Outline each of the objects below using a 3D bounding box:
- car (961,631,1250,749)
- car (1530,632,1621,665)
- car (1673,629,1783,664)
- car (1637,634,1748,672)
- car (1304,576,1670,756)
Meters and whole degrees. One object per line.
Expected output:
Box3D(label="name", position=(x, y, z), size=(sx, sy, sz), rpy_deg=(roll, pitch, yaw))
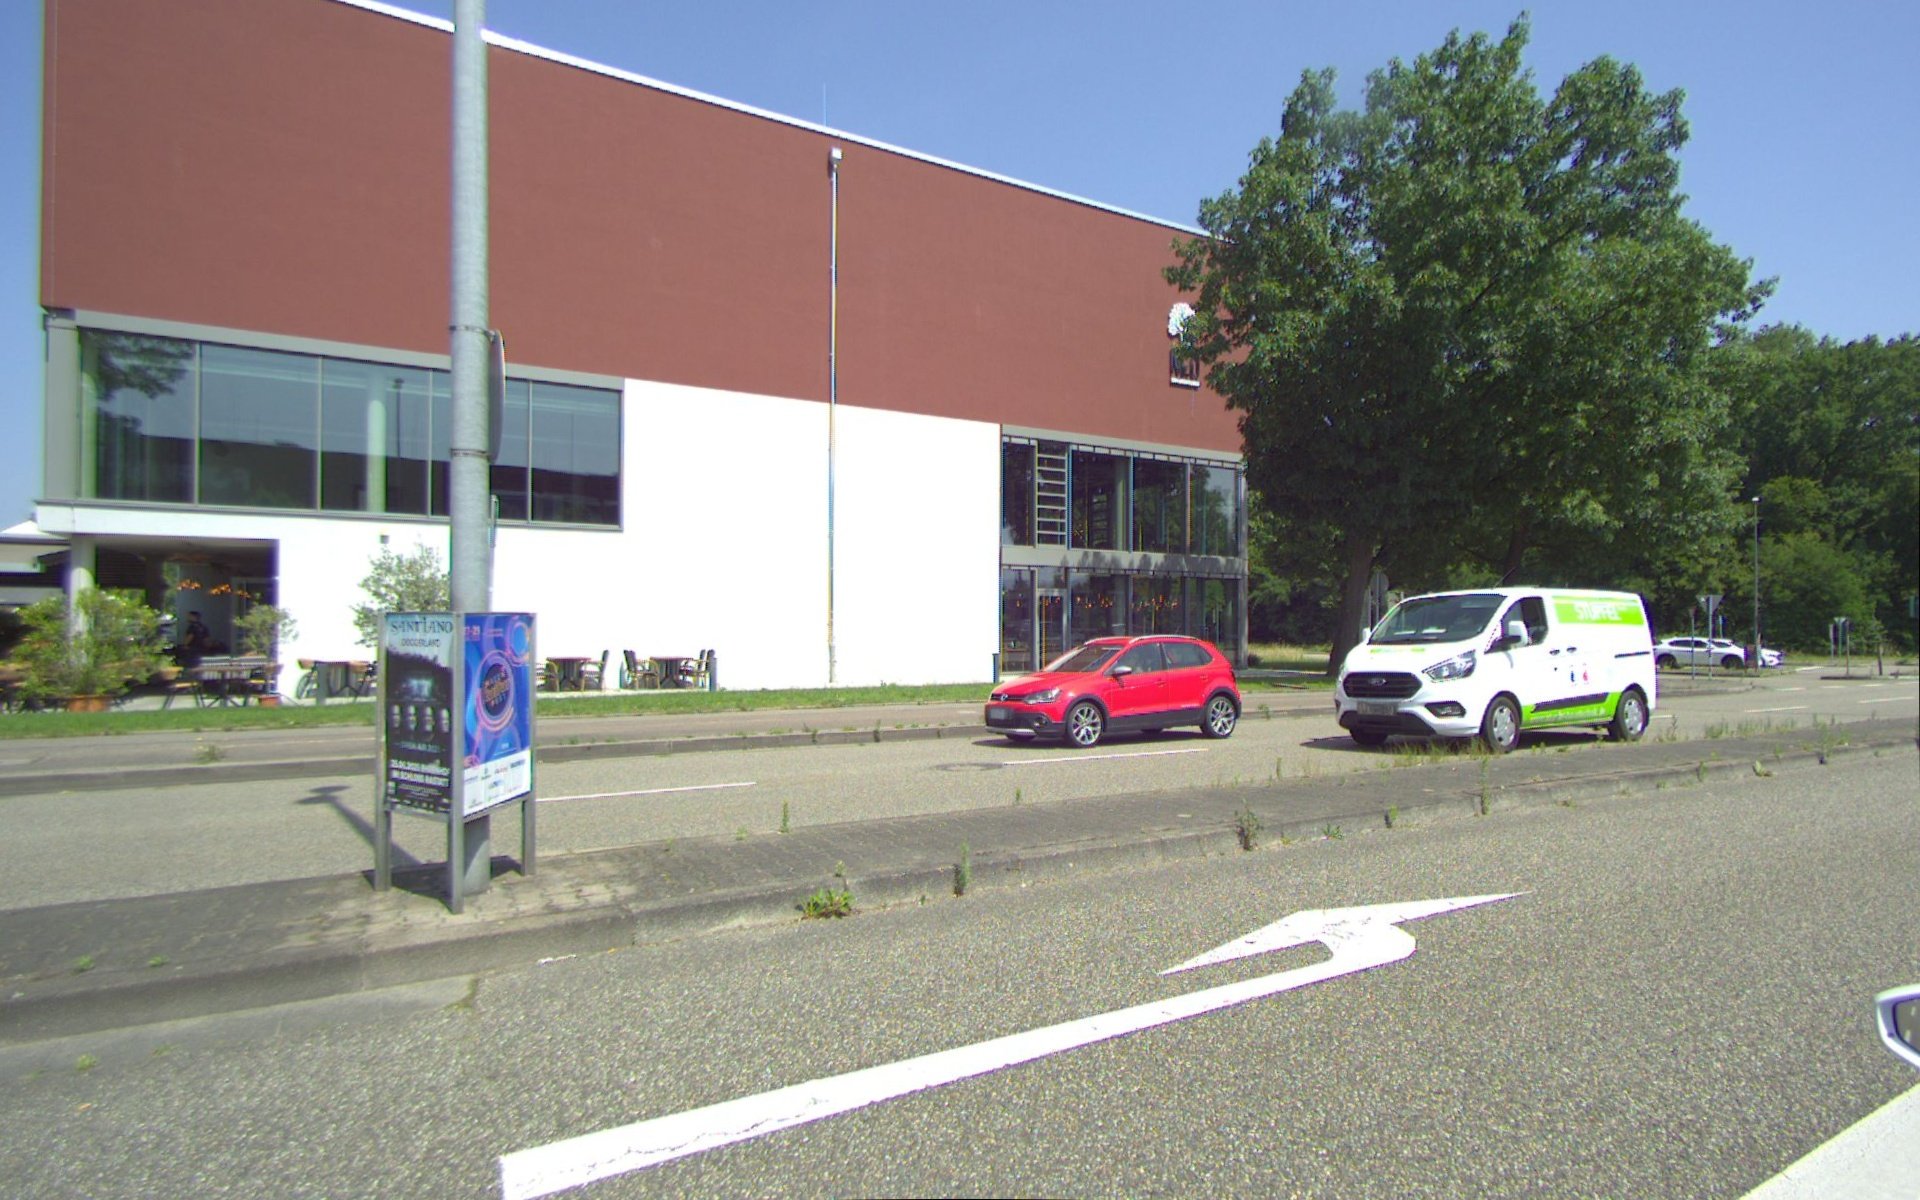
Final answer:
Box3D(label="car", position=(2.105, 1.215, 14.311), size=(3.845, 1.471, 1.698), rpy_deg=(1, -4, -30))
Box3D(label="car", position=(37.043, 2.891, 60.509), size=(1.796, 1.704, 4.333), rpy_deg=(2, 0, -40))
Box3D(label="car", position=(41.550, 2.560, 54.413), size=(1.794, 1.703, 4.341), rpy_deg=(2, -5, -37))
Box3D(label="car", position=(38.079, 2.733, 52.285), size=(1.794, 1.704, 4.339), rpy_deg=(2, 0, -37))
Box3D(label="car", position=(6.940, 0.810, 13.106), size=(4.852, 1.971, 1.984), rpy_deg=(1, -3, -31))
